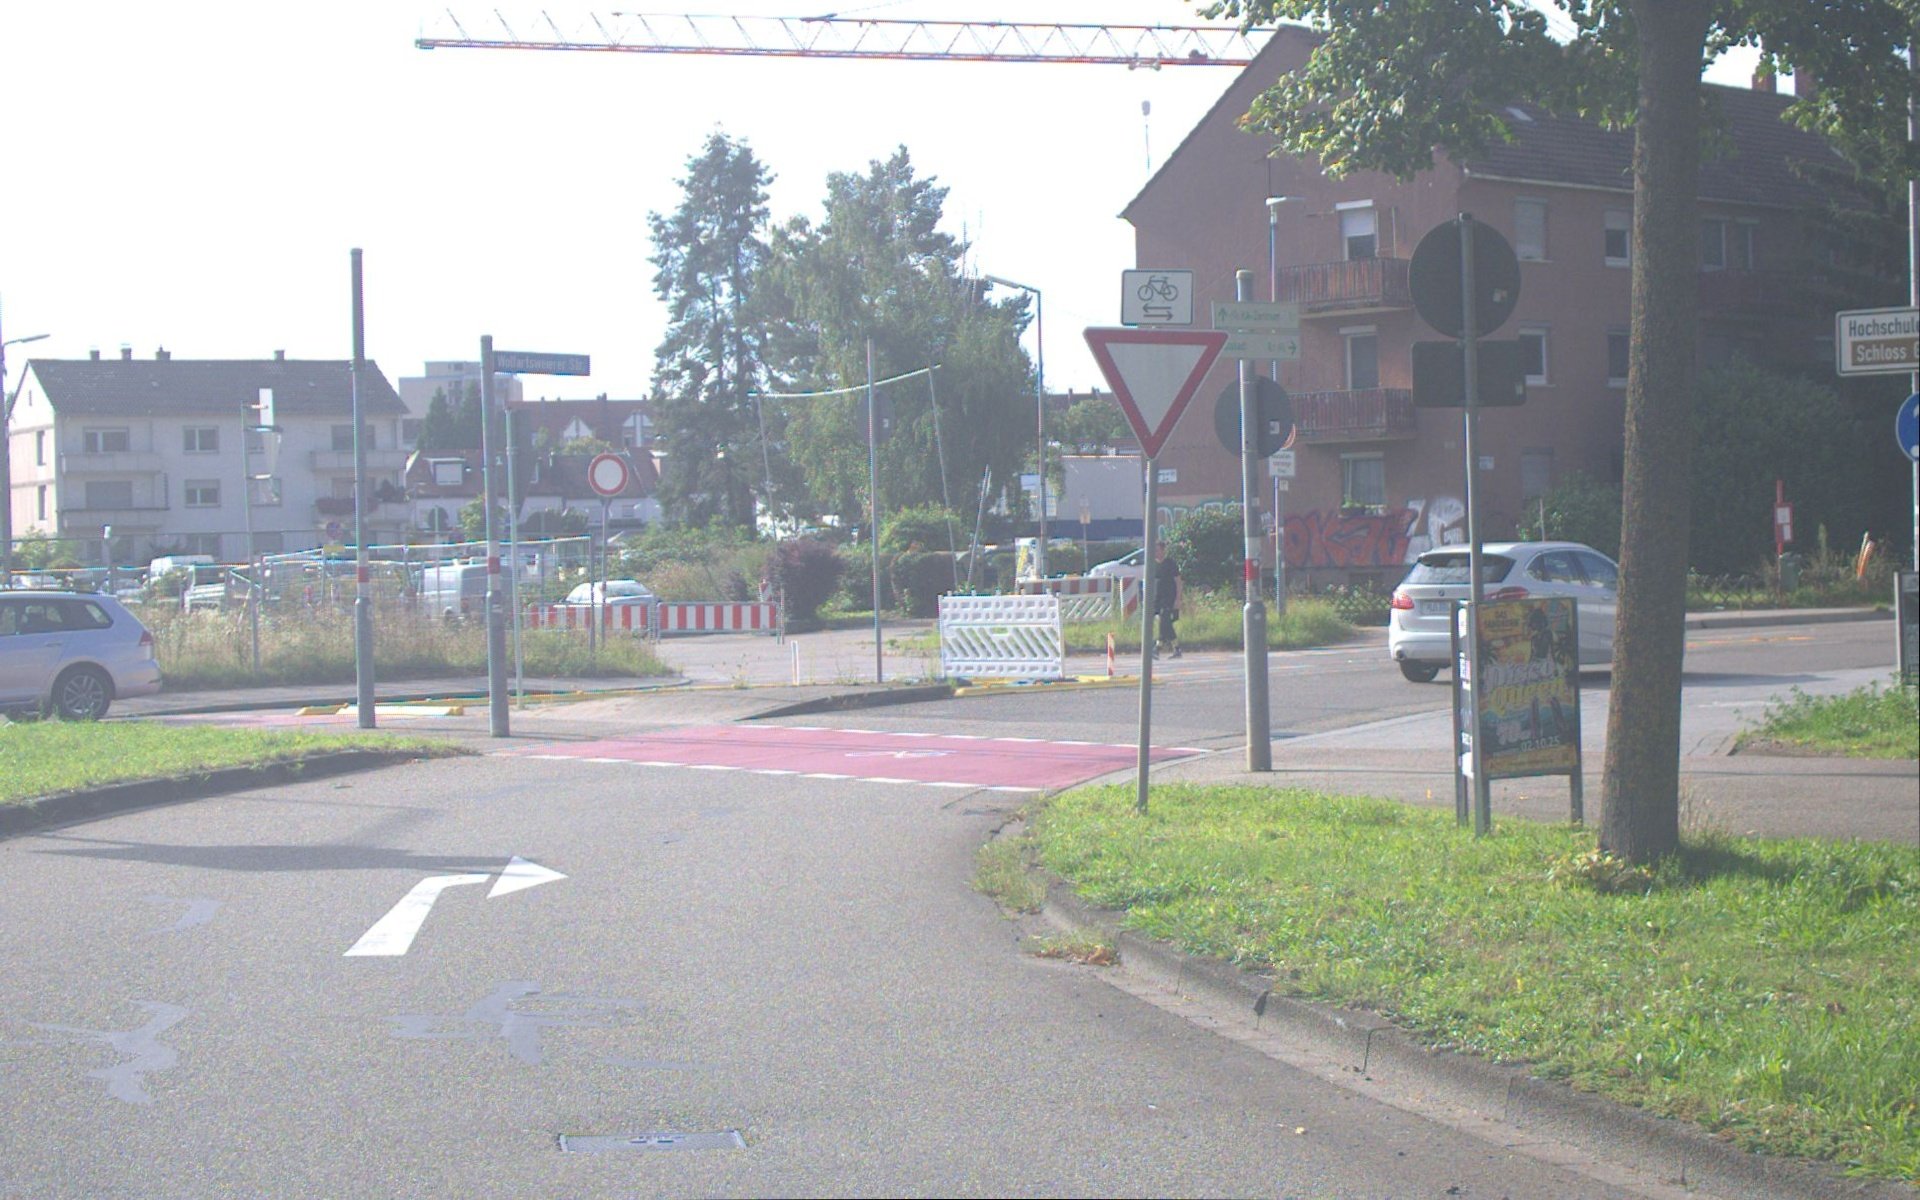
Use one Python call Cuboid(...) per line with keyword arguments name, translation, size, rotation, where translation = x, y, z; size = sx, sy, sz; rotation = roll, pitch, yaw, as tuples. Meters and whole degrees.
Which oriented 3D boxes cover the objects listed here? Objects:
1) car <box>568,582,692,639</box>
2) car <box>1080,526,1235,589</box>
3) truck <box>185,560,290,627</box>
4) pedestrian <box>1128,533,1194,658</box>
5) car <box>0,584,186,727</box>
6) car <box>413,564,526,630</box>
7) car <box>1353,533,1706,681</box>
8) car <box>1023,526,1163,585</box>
Cuboid(name="car", translation=(-8.565, 0.259, 88.991), size=(1.715, 1.388, 4.000), rotation=(-2, 1, -29))
Cuboid(name="car", translation=(5.402, -1.155, 93.962), size=(3.989, 1.612, 1.772), rotation=(-1, 1, 12))
Cuboid(name="truck", translation=(-24.648, -0.224, 117.162), size=(1.974, 2.164, 5.406), rotation=(-2, 1, -29))
Cuboid(name="pedestrian", translation=(3.048, -0.066, 51.996), size=(0.668, 1.864, 0.834), rotation=(-1, 1, 29))
Cuboid(name="car", translation=(-10.739, 0.608, 36.550), size=(4.528, 1.447, 1.823), rotation=(-2, 1, -36))
Cuboid(name="car", translation=(-14.120, -0.094, 98.789), size=(1.879, 1.809, 4.000), rotation=(-2, 1, -29))
Cuboid(name="car", translation=(6.541, 0.031, 39.166), size=(1.855, 1.567, 4.444), rotation=(1, 2, 42))
Cuboid(name="car", translation=(3.830, -1.284, 99.791), size=(3.987, 1.612, 1.773), rotation=(-1, 1, 1))
